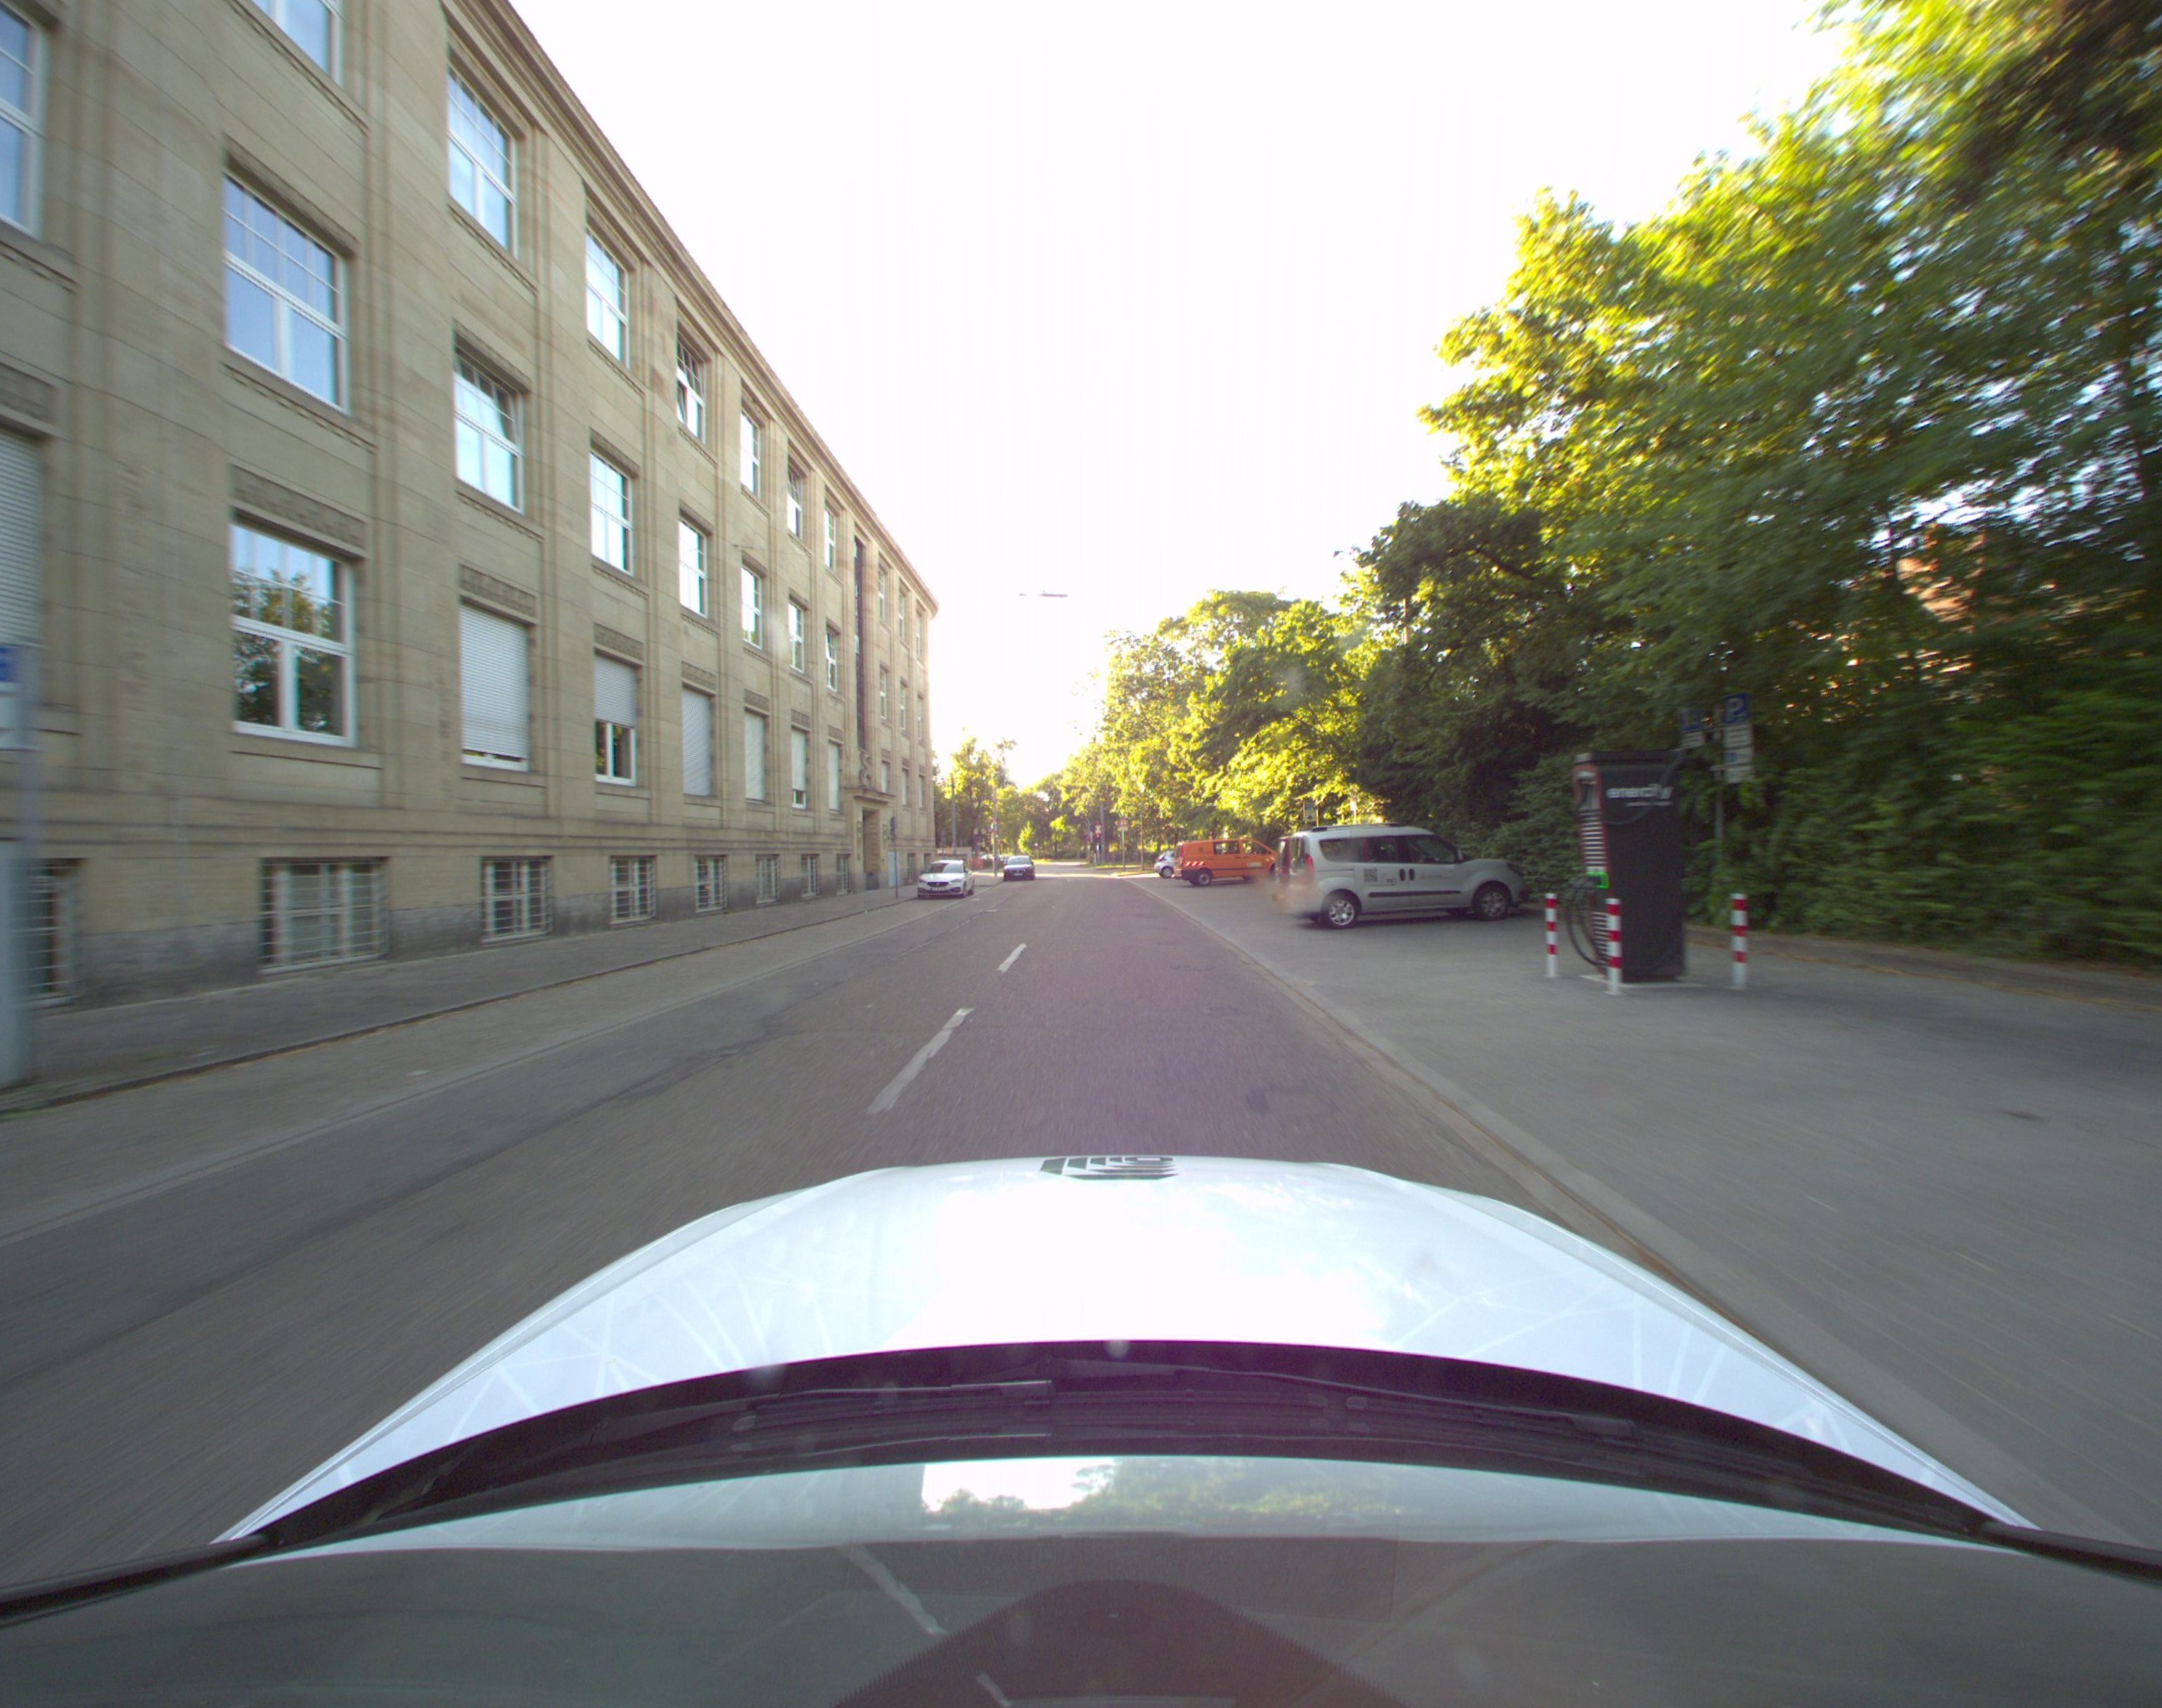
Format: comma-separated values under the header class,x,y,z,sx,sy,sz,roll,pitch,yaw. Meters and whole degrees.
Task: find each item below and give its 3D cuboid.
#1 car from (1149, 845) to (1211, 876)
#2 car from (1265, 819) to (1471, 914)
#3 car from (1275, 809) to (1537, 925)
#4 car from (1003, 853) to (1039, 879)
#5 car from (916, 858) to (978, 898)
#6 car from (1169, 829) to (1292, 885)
class,x,y,z,sx,sy,sz,roll,pitch,yaw
car,5.521,0.378,45.563,3.138,1.503,1.538,-4,0,-5
car,6.328,0.267,18.271,4.007,1.835,1.615,-3,0,3
car,6.077,0.245,15.687,4.211,1.859,2.002,-3,-1,3
car,-3.572,0.685,49.276,1.873,1.466,4.372,-2,1,-1
car,-5.179,0.897,31.994,1.722,1.397,4.371,-1,0,-1
car,6.383,0.122,34.989,4.810,2.013,1.799,-4,0,-5
